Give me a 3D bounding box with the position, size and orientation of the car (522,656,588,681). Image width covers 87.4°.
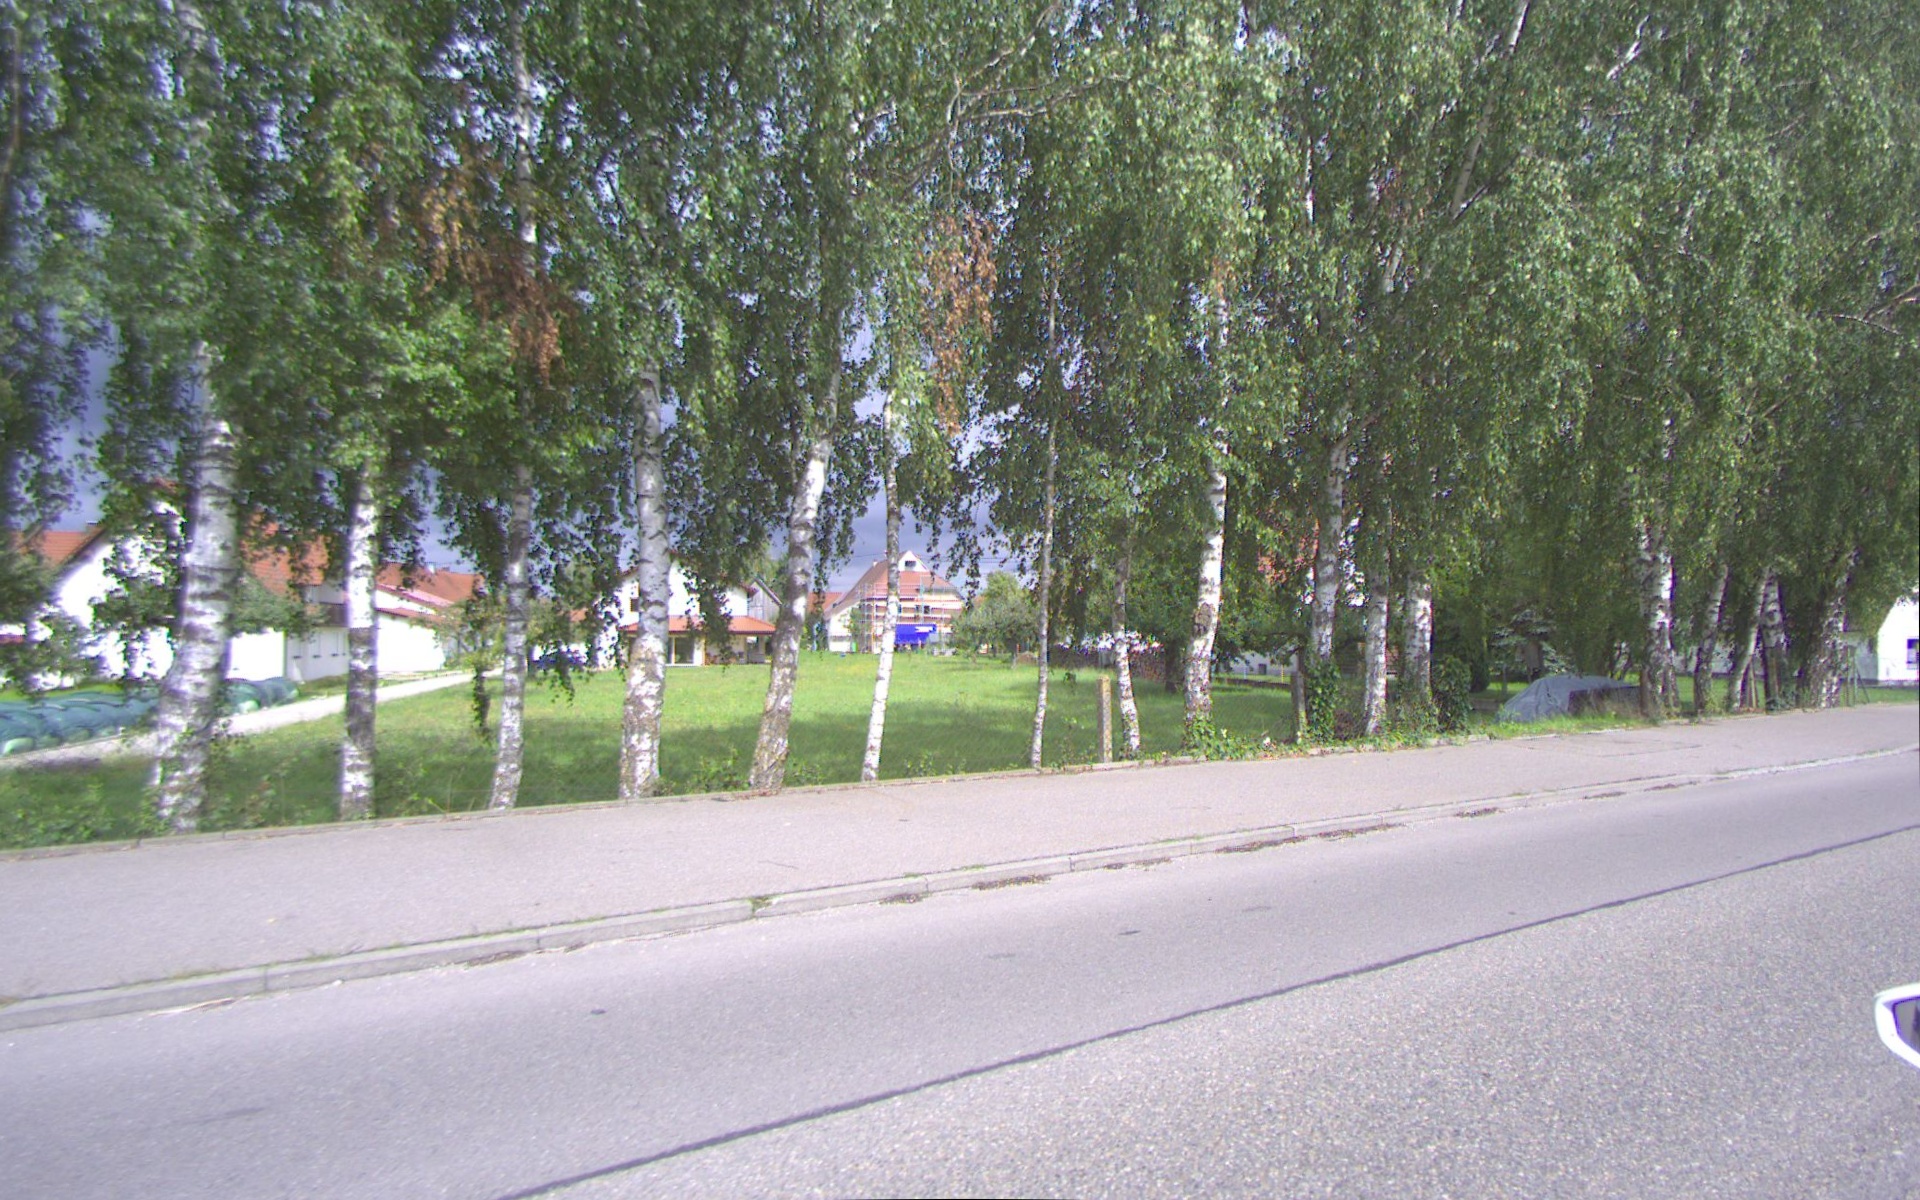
[{"bbox_3d":[-29.307,4.925,72.796,3.920,1.742,2.001,0,-3,1],"label":"car"}]

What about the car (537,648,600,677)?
[{"bbox_3d":[-27.962,4.445,71.903,3.932,2.040,1.995,0,-3,-14],"label":"car"}]
